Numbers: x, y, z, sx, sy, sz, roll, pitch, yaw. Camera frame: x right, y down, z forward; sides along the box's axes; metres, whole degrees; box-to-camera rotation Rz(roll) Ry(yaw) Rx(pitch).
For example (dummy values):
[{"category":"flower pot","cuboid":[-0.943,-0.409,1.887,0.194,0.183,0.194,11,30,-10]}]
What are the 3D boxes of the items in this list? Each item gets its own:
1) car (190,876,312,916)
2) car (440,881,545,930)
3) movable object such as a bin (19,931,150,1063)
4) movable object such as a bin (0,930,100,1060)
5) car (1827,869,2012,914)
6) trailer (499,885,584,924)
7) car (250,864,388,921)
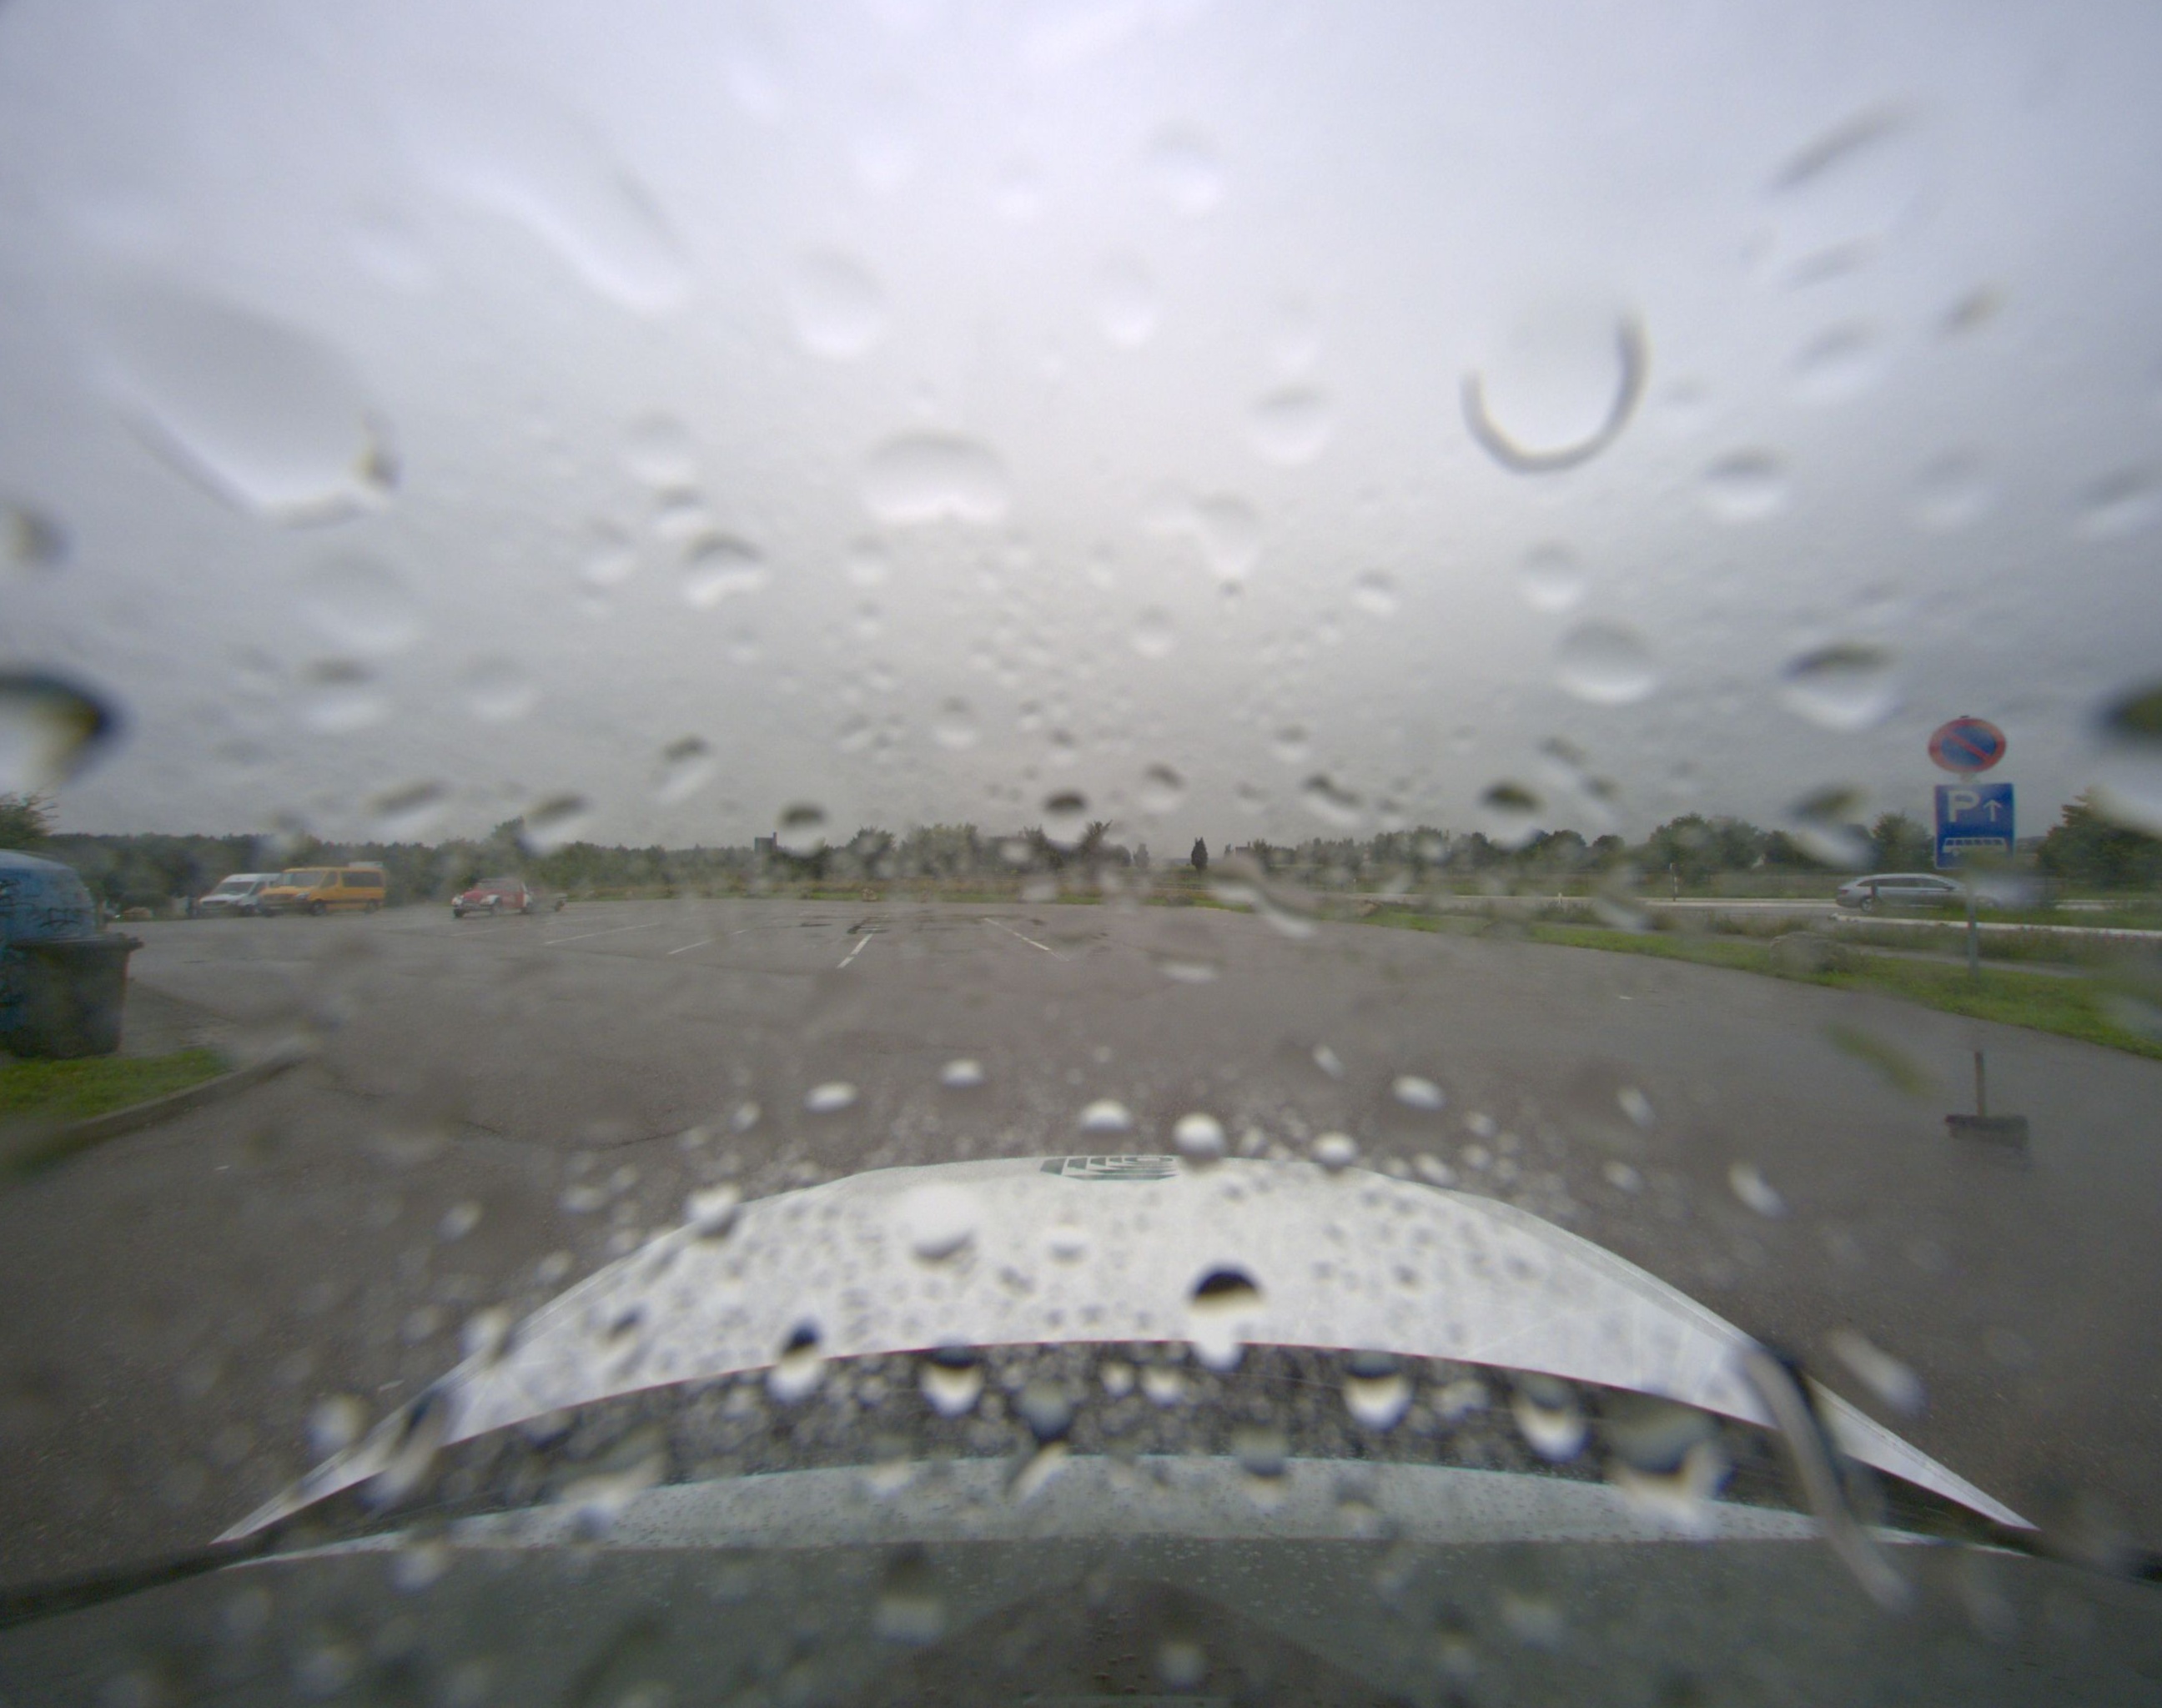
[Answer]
[{"category":"car","cuboid":[-48.189,2.381,47.448,1.985,2.202,4.778,0,-2,4]},{"category":"car","cuboid":[-23.565,2.019,32.781,1.822,1.777,3.986,-2,-2,-10]},{"category":"movable object such as a bin","cuboid":[-7.777,1.096,6.371,0.431,0.949,0.474,0,-2,10]},{"category":"movable object such as a bin","cuboid":[-8.271,1.101,6.464,0.404,0.949,0.448,0,-2,-14]},{"category":"car","cuboid":[31.367,1.377,30.594,2.009,1.481,4.610,-2,0,-37]},{"category":"trailer","cuboid":[-24.232,2.239,36.718,1.695,1.533,3.986,-2,-1,-10]},{"category":"car","cuboid":[-35.909,1.806,38.662,1.996,2.380,5.997,-3,-2,-13]}]
